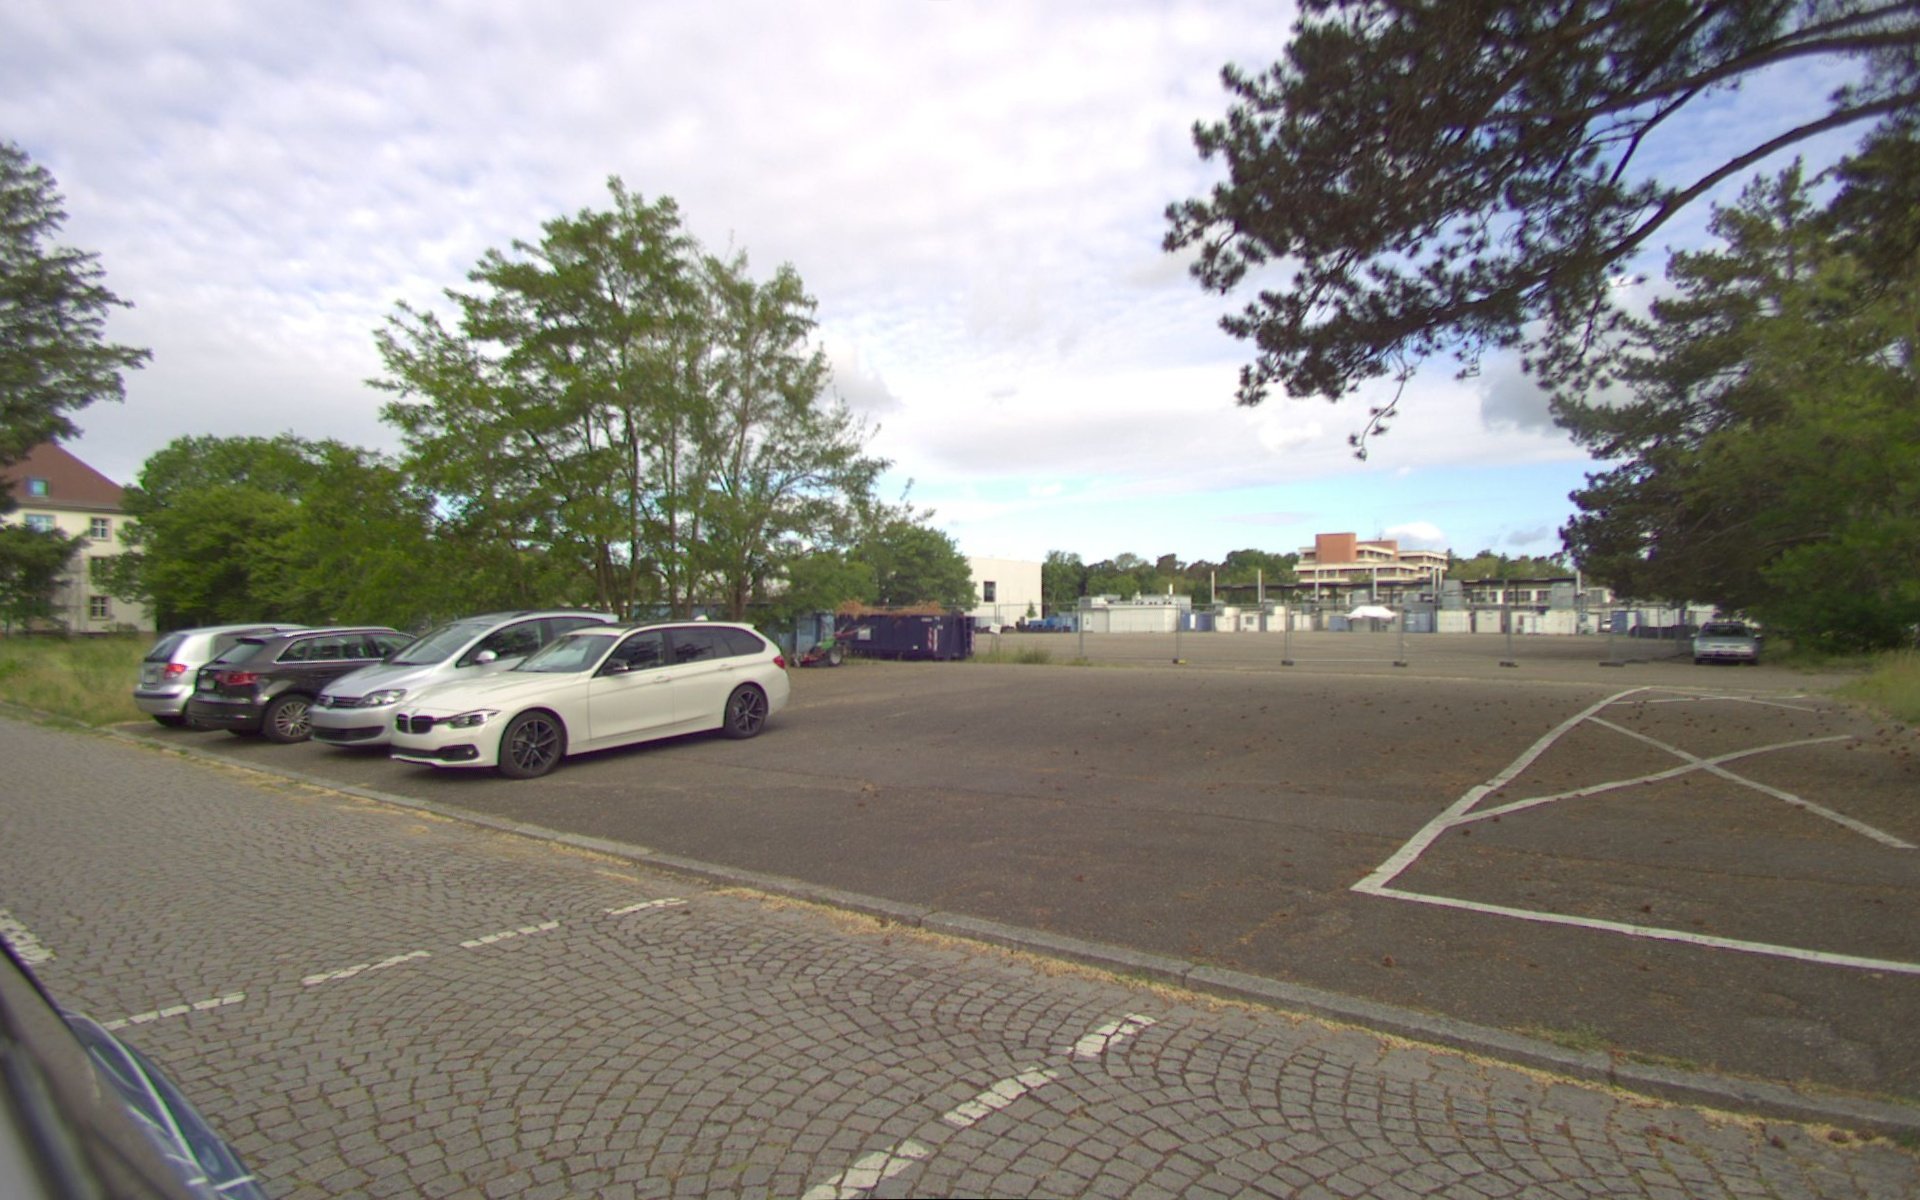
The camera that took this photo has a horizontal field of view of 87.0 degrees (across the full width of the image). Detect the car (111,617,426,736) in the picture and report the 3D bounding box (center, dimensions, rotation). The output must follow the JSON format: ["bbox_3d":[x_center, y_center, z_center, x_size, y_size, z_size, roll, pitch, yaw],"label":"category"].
[{"bbox_3d":[-10.665,1.087,15.847,1.803,1.463,3.648,-1,1,33],"label":"car"}]

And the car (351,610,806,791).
[{"bbox_3d":[-4.002,0.937,11.450,1.797,1.454,4.609,-1,1,34],"label":"car"}]

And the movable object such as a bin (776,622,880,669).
[{"bbox_3d":[-3.495,1.183,26.922,1.500,1.170,2.365,-2,-2,43],"label":"movable object such as a bin"}]

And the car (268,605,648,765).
[{"bbox_3d":[-6.124,0.917,12.787,1.719,1.559,3.955,-1,1,33],"label":"car"}]

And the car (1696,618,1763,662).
[{"bbox_3d":[26.159,1.315,34.484,1.694,1.403,3.951,-1,-2,36],"label":"car"}]

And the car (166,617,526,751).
[{"bbox_3d":[-8.444,1.043,14.230,1.748,1.438,3.951,-1,1,37],"label":"car"}]
